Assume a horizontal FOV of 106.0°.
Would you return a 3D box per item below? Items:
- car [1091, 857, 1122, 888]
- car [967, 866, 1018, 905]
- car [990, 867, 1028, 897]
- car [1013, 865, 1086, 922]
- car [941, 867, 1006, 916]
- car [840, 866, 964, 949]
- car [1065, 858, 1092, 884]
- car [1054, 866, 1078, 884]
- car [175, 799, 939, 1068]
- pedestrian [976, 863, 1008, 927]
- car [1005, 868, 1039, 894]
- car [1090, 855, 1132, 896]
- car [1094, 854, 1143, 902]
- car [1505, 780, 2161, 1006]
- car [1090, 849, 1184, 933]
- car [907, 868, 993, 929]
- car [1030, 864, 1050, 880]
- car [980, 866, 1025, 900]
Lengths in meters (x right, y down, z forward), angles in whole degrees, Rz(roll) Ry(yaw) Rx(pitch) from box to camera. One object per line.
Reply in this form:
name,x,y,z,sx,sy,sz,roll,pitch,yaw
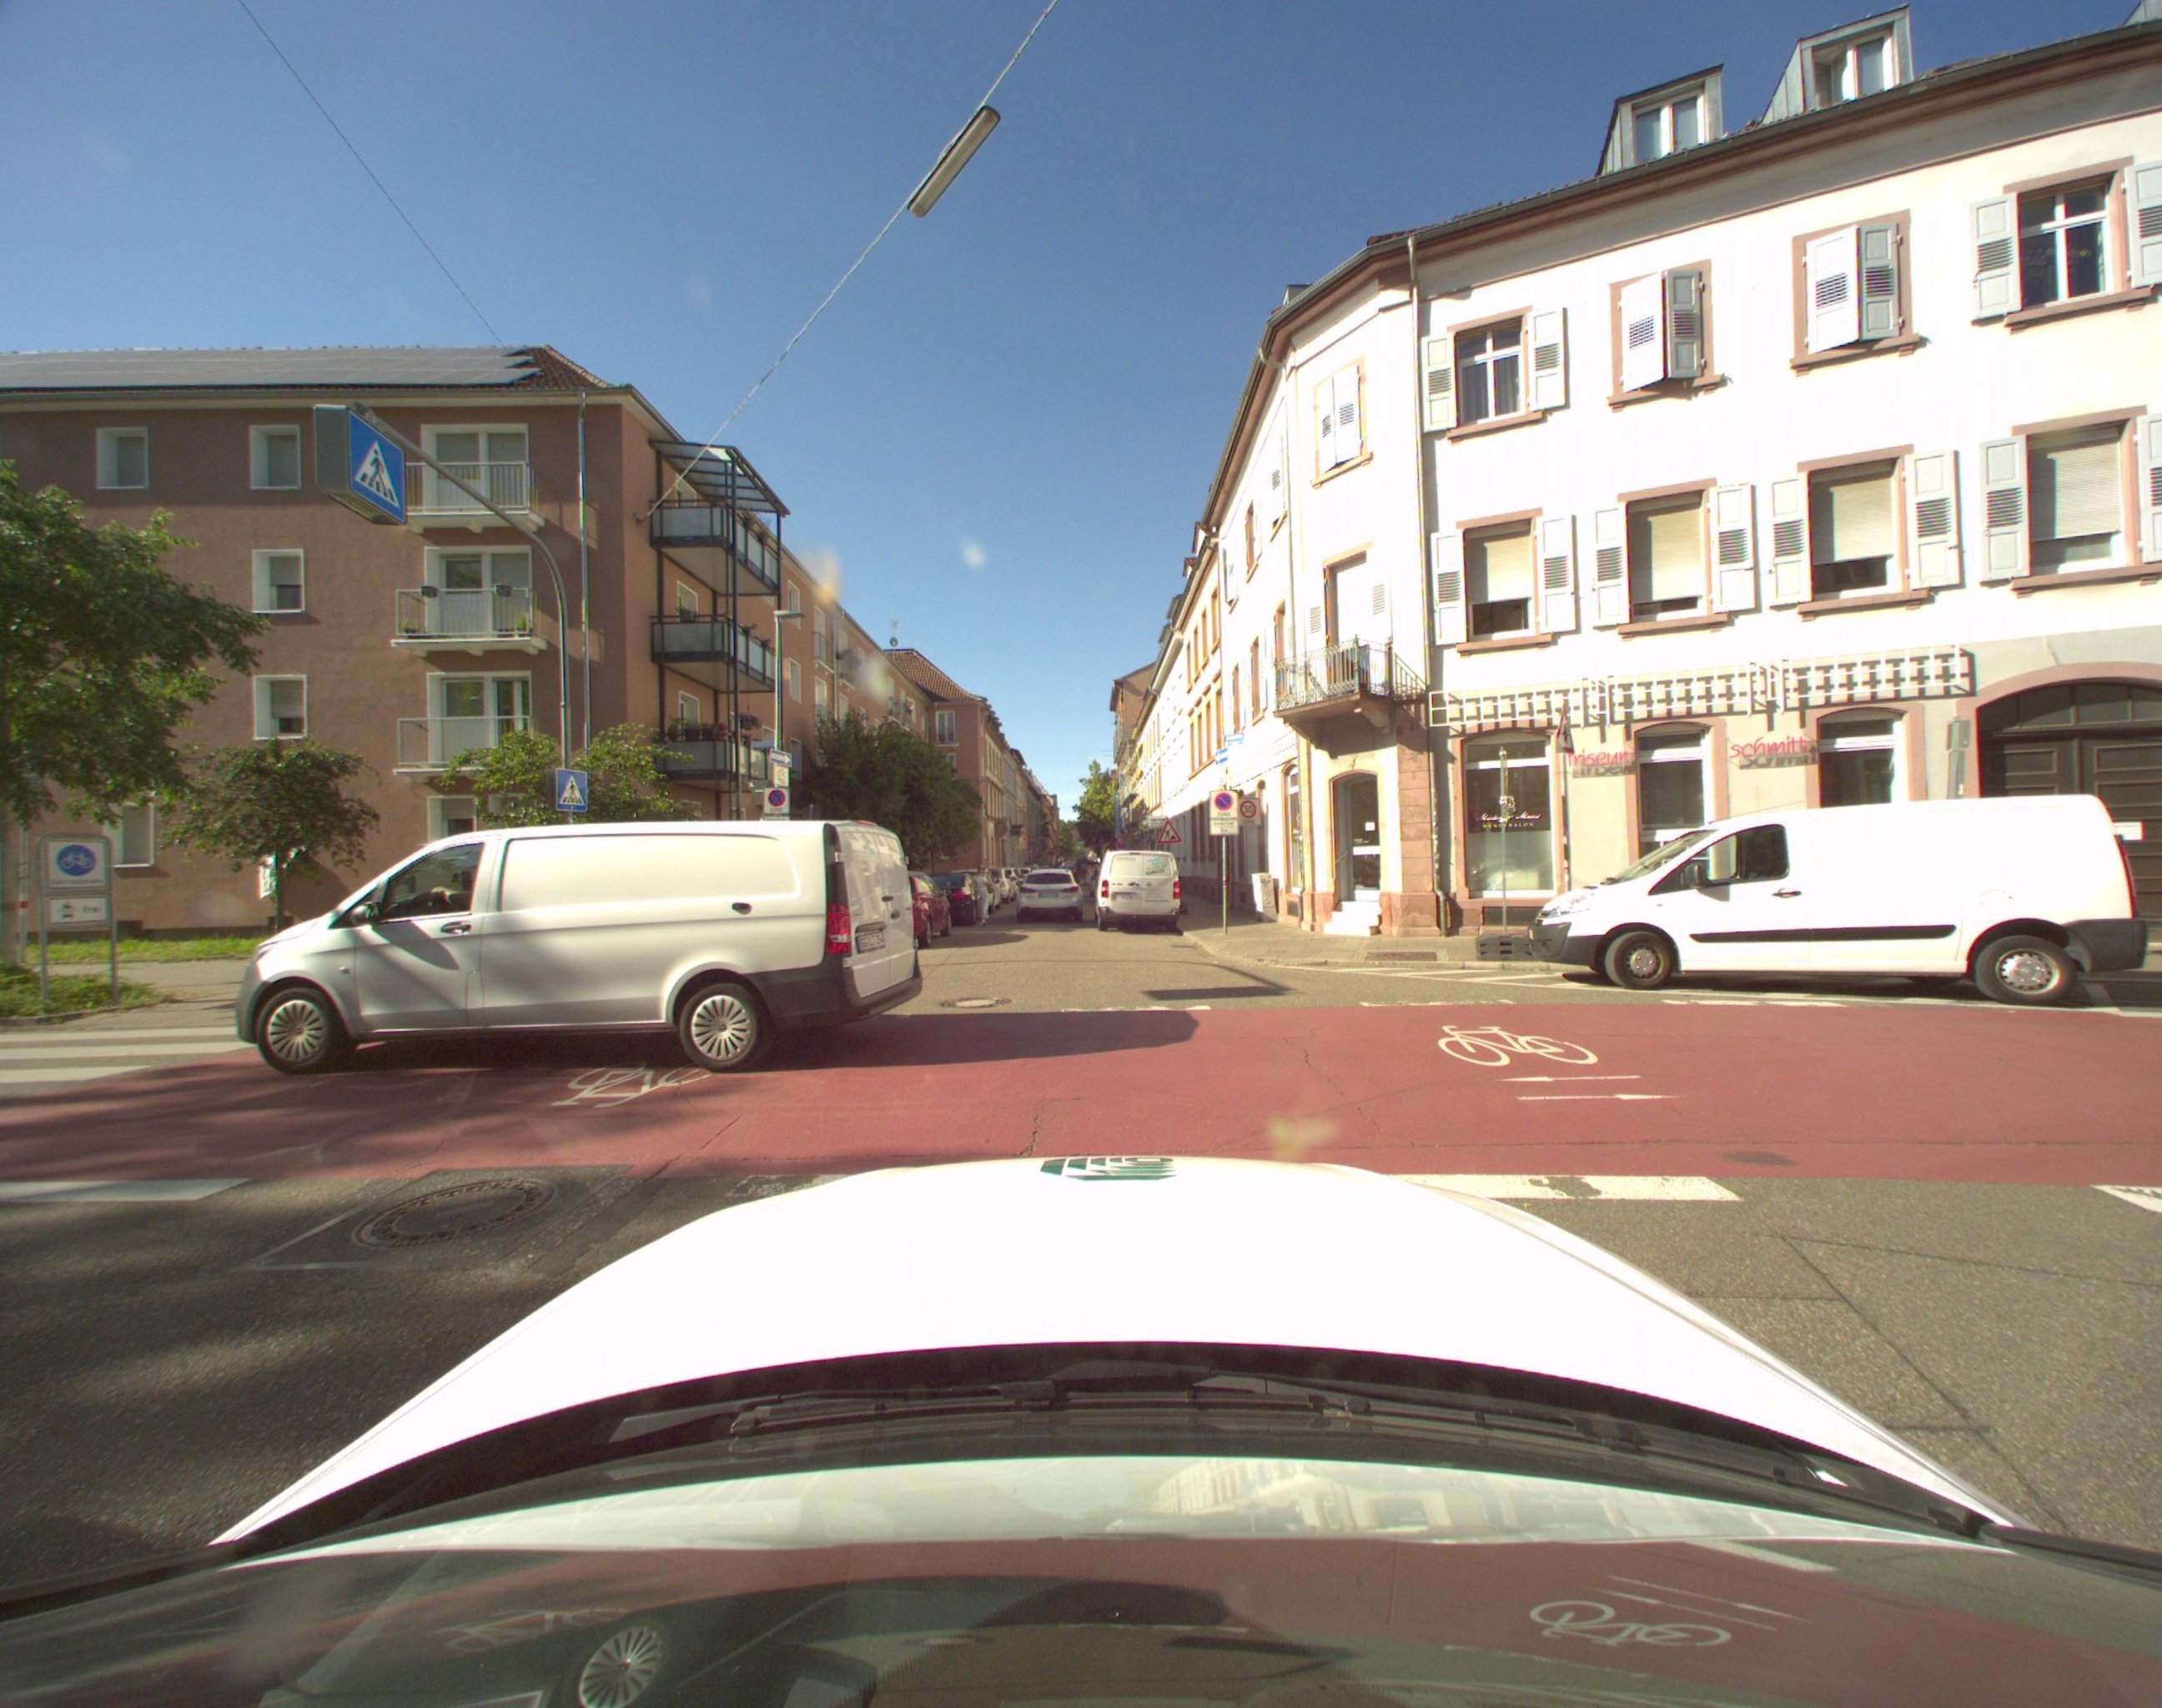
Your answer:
car,1.602,1.179,51.923,1.888,1.859,3.995,-1,-1,1
car,-3.702,1.290,34.727,1.647,1.500,3.763,-1,-1,1
car,-3.866,1.484,44.314,1.647,1.500,3.763,-1,-1,1
car,-0.831,1.100,23.470,1.824,1.457,3.962,-1,-2,1
car,-3.636,1.232,28.092,1.647,1.500,3.763,-1,-1,1
car,-3.694,1.057,17.487,1.679,1.500,3.807,-3,-1,1
car,-0.129,1.263,61.716,1.888,1.859,3.995,-1,-1,1
car,-1.169,1.674,66.624,1.754,1.410,4.328,-1,-1,1
car,-4.187,0.636,7.089,5.380,1.907,2.111,-1,-1,5
pedestrian,-2.343,1.050,21.378,0.733,1.614,0.813,-2,-1,-11
car,-3.559,1.602,49.462,1.647,1.500,3.763,-1,-1,1
car,1.426,1.029,39.669,1.888,1.859,3.995,-1,-1,1
car,1.531,0.983,34.345,1.888,1.859,3.995,-1,-1,1
car,7.544,0.398,8.942,4.964,1.946,2.062,-2,-1,24
car,1.282,0.851,20.684,1.889,1.859,5.010,1,-1,-1
car,-3.603,1.174,23.040,1.647,1.500,4.080,-1,-1,1
car,-3.997,1.744,80.367,1.647,1.500,3.763,-1,-1,1
car,-3.686,1.345,38.871,1.647,1.500,3.763,-1,-1,1
